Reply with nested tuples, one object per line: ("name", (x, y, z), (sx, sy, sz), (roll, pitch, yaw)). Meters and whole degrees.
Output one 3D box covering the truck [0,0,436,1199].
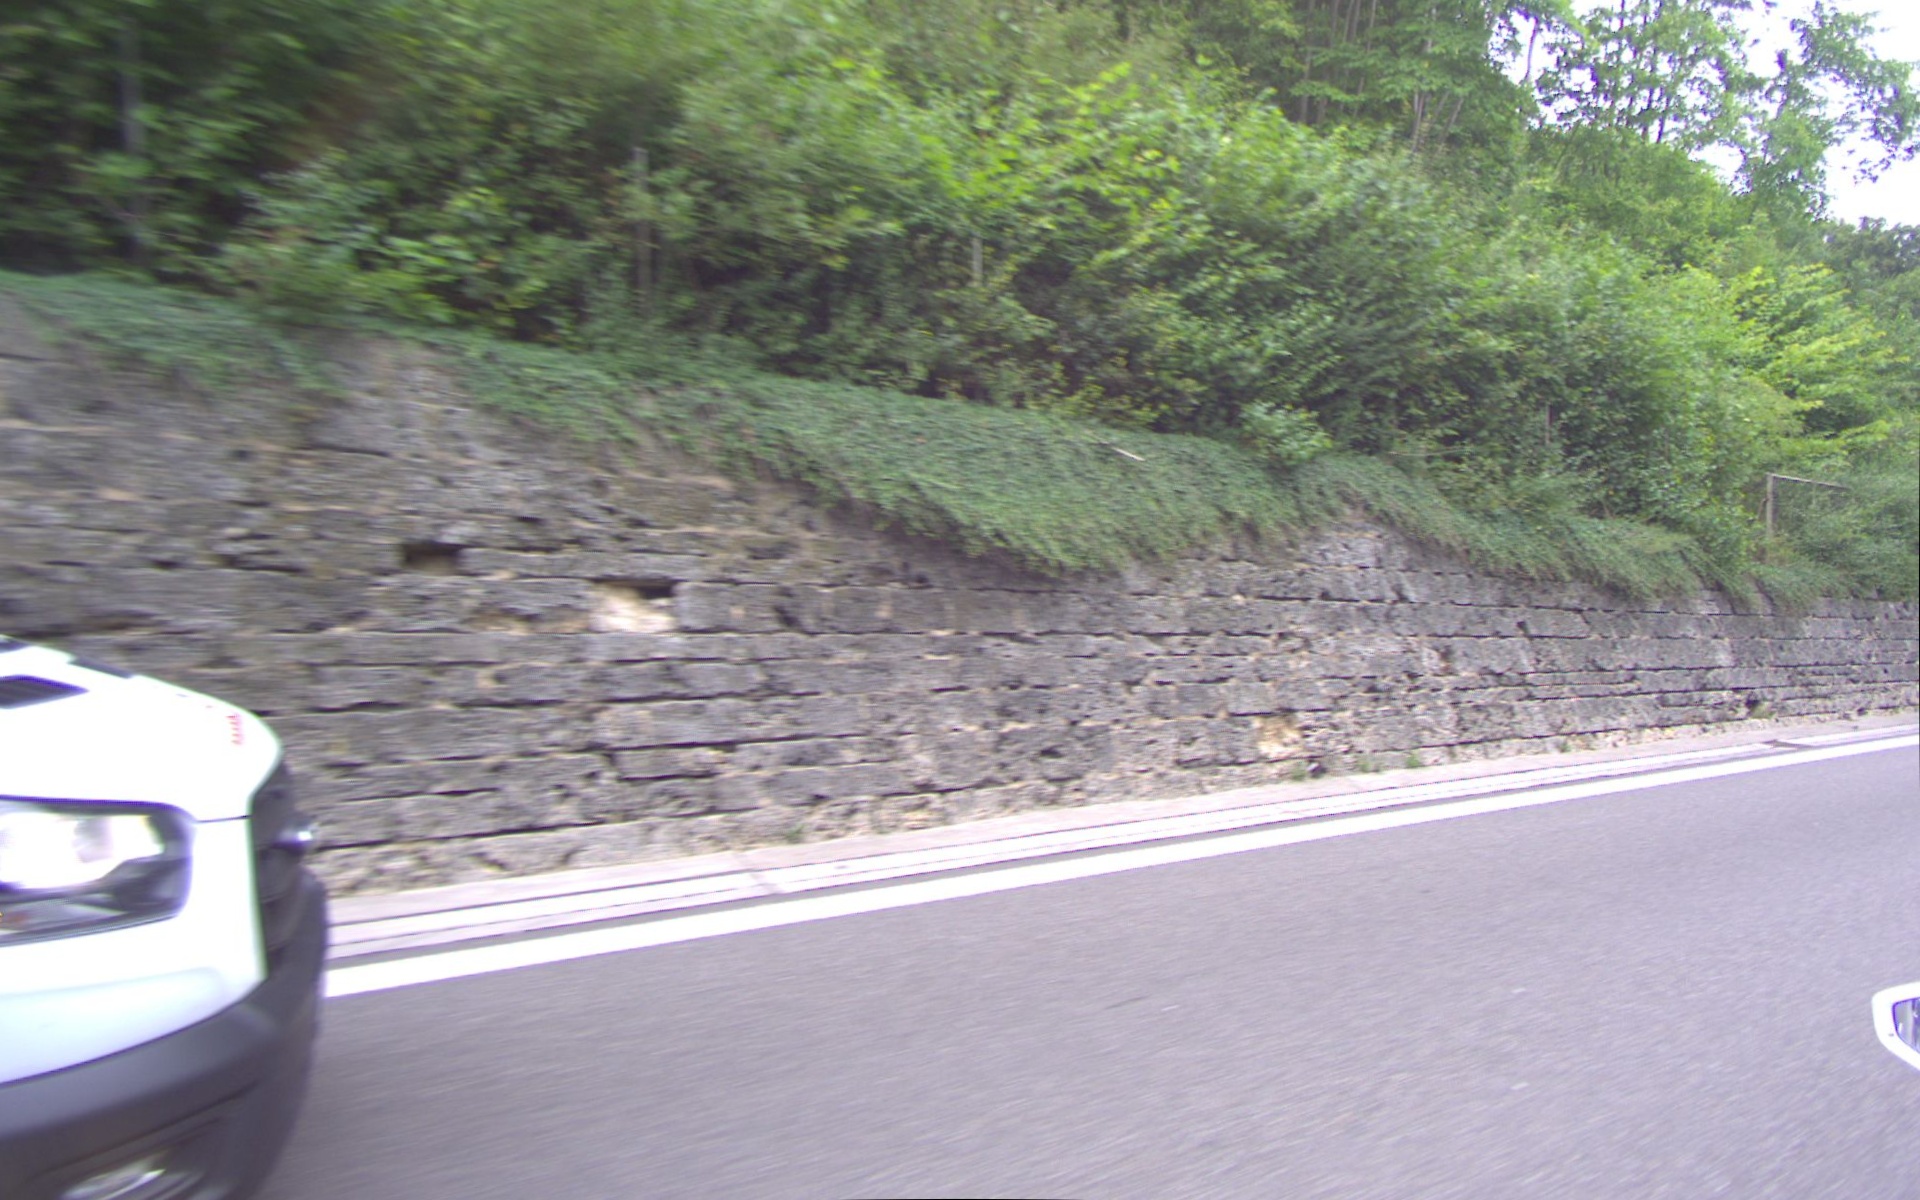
("truck", (-4.159, 0.233, 0.816), (6.511, 2.310, 1.983), (1, 0, -31))
